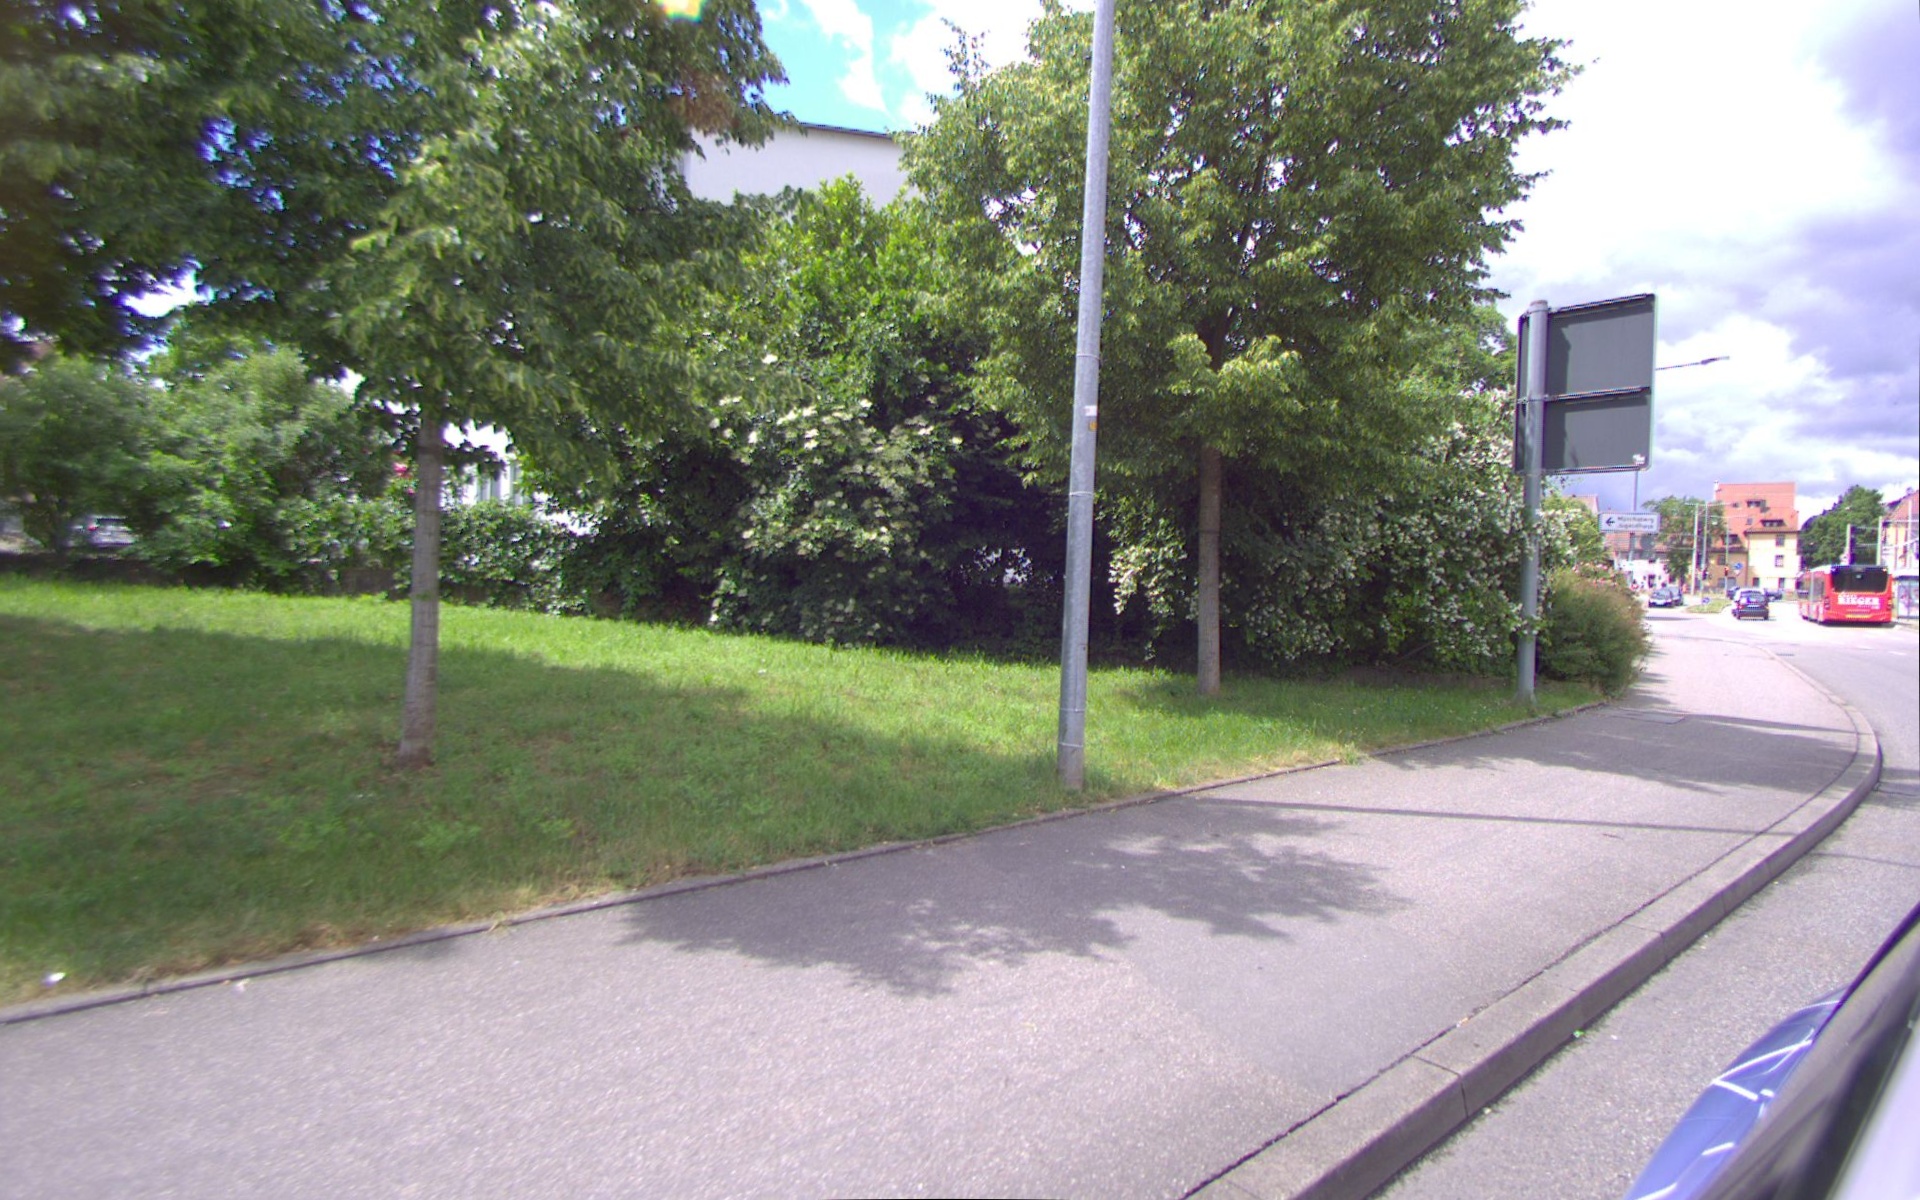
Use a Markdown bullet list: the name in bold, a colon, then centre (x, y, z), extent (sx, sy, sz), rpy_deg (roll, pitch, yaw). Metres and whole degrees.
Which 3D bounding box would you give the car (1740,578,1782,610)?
- **car**: centre (52.022, -0.382, 65.773), extent (1.756, 1.684, 4.448), rpy_deg (4, -1, 35)

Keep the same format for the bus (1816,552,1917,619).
- **bus**: centre (46.156, -0.673, 51.778), extent (2.718, 3.108, 8.849), rpy_deg (2, 0, 35)

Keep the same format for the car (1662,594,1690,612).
- **car**: centre (61.277, 0.241, 86.653), extent (1.871, 1.446, 3.950), rpy_deg (2, 0, 34)

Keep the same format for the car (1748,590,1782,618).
- **car**: centre (47.620, 0.226, 59.844), extent (1.527, 1.570, 3.680), rpy_deg (1, 1, 39)
